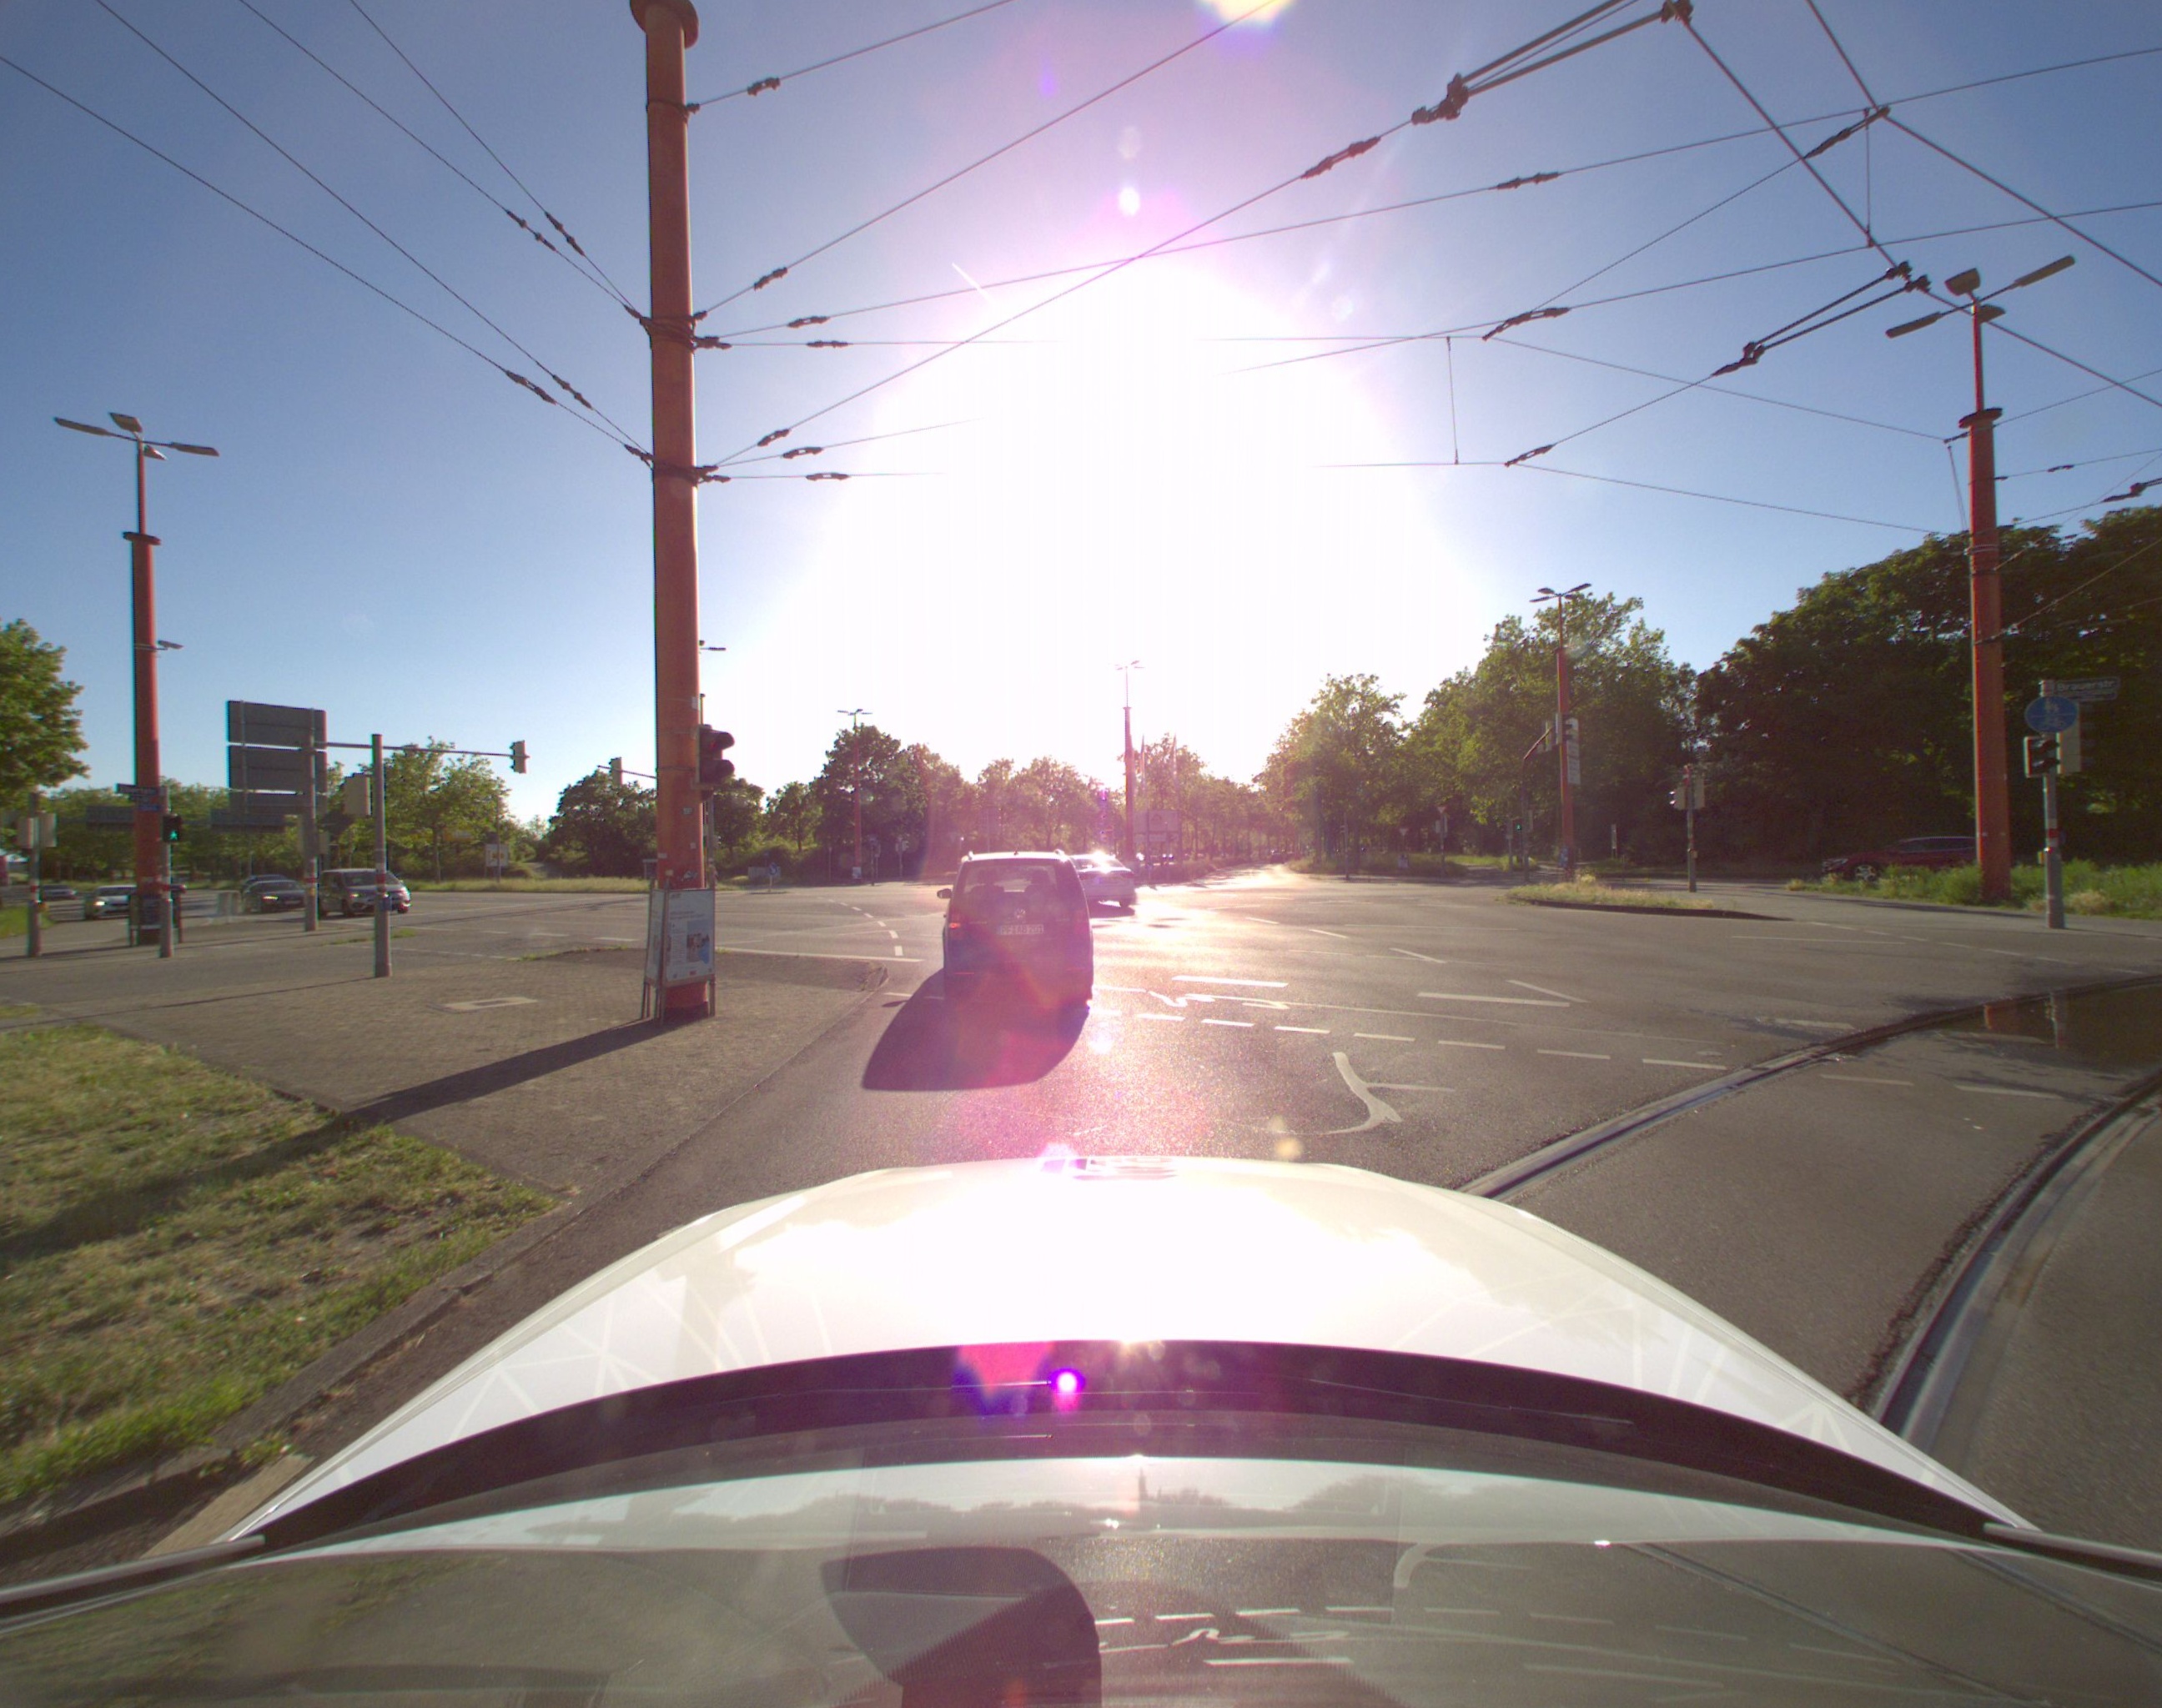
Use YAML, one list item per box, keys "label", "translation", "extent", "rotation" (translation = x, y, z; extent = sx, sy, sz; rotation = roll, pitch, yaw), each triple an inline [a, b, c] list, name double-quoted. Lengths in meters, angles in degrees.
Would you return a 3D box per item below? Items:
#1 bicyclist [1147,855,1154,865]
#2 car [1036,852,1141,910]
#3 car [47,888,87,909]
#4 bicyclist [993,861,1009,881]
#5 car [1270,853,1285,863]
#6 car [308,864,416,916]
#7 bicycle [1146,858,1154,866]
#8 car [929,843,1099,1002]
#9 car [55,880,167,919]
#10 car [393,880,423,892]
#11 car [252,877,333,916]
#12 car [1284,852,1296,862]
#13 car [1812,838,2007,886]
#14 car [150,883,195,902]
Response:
- label: "bicyclist"
  translation: [10.217, 0.844, 119.967]
  extent: [0.729, 1.436, 0.970]
  rotation: [-2, -1, 19]
- label: "car"
  translation: [0.102, 0.727, 23.470]
  extent: [1.772, 1.464, 4.340]
  rotation: [-1, -1, -17]
- label: "car"
  translation: [-87.039, 3.824, 69.886]
  extent: [4.506, 1.610, 1.917]
  rotation: [-2, 1, 36]
- label: "bicyclist"
  translation: [-6.158, 1.303, 62.622]
  extent: [0.752, 1.557, 0.986]
  rotation: [-2, 0, 22]
- label: "car"
  translation: [26.418, 0.517, 109.469]
  extent: [1.777, 1.388, 4.065]
  rotation: [0, 0, 15]
- label: "car"
  translation: [-27.578, 1.362, 31.216]
  extent: [4.389, 1.775, 1.917]
  rotation: [-2, 1, 32]
- label: "bicycle"
  translation: [10.198, 1.177, 119.886]
  extent: [0.729, 1.091, 2.025]
  rotation: [-2, -1, 19]
- label: "car"
  translation: [-0.828, 0.740, 11.052]
  extent: [1.764, 1.644, 4.917]
  rotation: [-1, -1, -3]
- label: "car"
  translation: [-43.151, 2.016, 36.243]
  extent: [4.209, 1.550, 1.915]
  rotation: [-2, 1, 22]
- label: "car"
  translation: [-85.177, 4.005, 103.068]
  extent: [4.309, 1.464, 1.785]
  rotation: [-1, -1, 34]
- label: "car"
  translation: [-33.816, 1.785, 34.874]
  extent: [4.506, 1.474, 1.917]
  rotation: [-2, 1, 39]
- label: "car"
  translation: [35.916, 0.549, 140.141]
  extent: [1.859, 1.627, 4.013]
  rotation: [0, -1, 13]
- label: "car"
  translation: [27.657, 0.301, 27.427]
  extent: [4.234, 1.495, 2.013]
  rotation: [-2, -1, 33]
- label: "car"
  translation: [-81.418, 3.422, 72.996]
  extent: [4.506, 1.565, 1.917]
  rotation: [-2, 1, 32]
